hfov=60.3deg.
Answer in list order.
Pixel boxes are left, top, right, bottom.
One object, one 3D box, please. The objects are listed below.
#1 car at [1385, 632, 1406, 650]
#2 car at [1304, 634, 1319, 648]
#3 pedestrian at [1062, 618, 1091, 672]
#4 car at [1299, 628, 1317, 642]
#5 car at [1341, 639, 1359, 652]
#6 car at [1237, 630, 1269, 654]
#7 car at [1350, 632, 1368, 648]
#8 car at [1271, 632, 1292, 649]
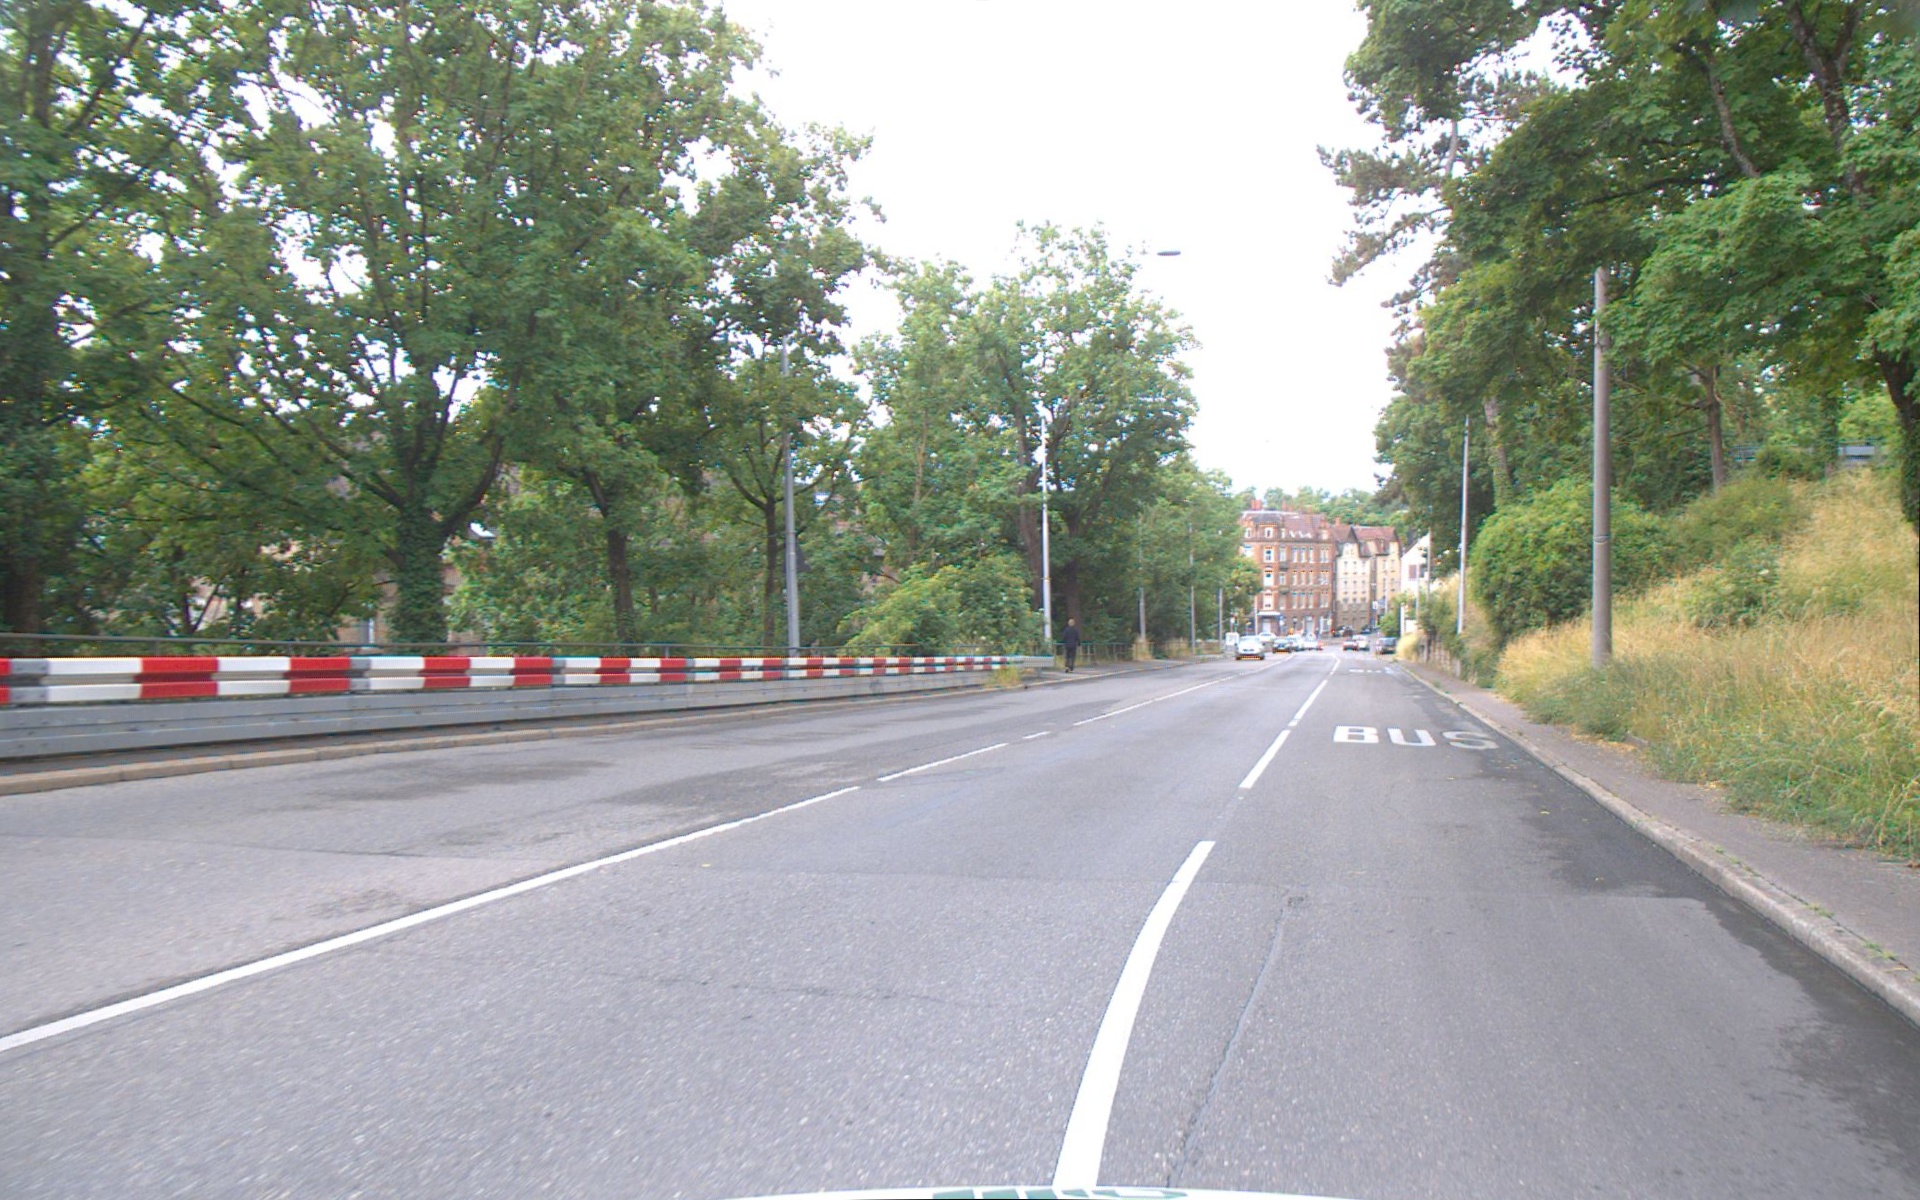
[{"bbox_3d":[39.021,3.667,148.112,1.646,1.476,4.002,-4,-3,14],"label":"car"},{"bbox_3d":[42.770,5.001,201.194,1.746,1.602,4.284,-1,-2,13],"label":"car"},{"bbox_3d":[4.065,1.551,57.645,0.772,1.805,1.210,3,-1,11],"label":"pedestrian"},{"bbox_3d":[37.713,3.797,179.277,1.756,1.537,4.003,-1,-1,14],"label":"car"},{"bbox_3d":[48.385,5.650,205.097,1.778,1.455,4.001,1,-1,18],"label":"car"},{"bbox_3d":[18.659,2.640,105.237,1.756,1.452,4.146,0,-1,14],"label":"car"},{"bbox_3d":[51.650,5.200,214.086,1.869,1.917,4.001,1,-1,18],"label":"car"},{"bbox_3d":[28.999,3.649,149.242,1.633,1.473,3.690,-1,-2,14],"label":"car"}]
